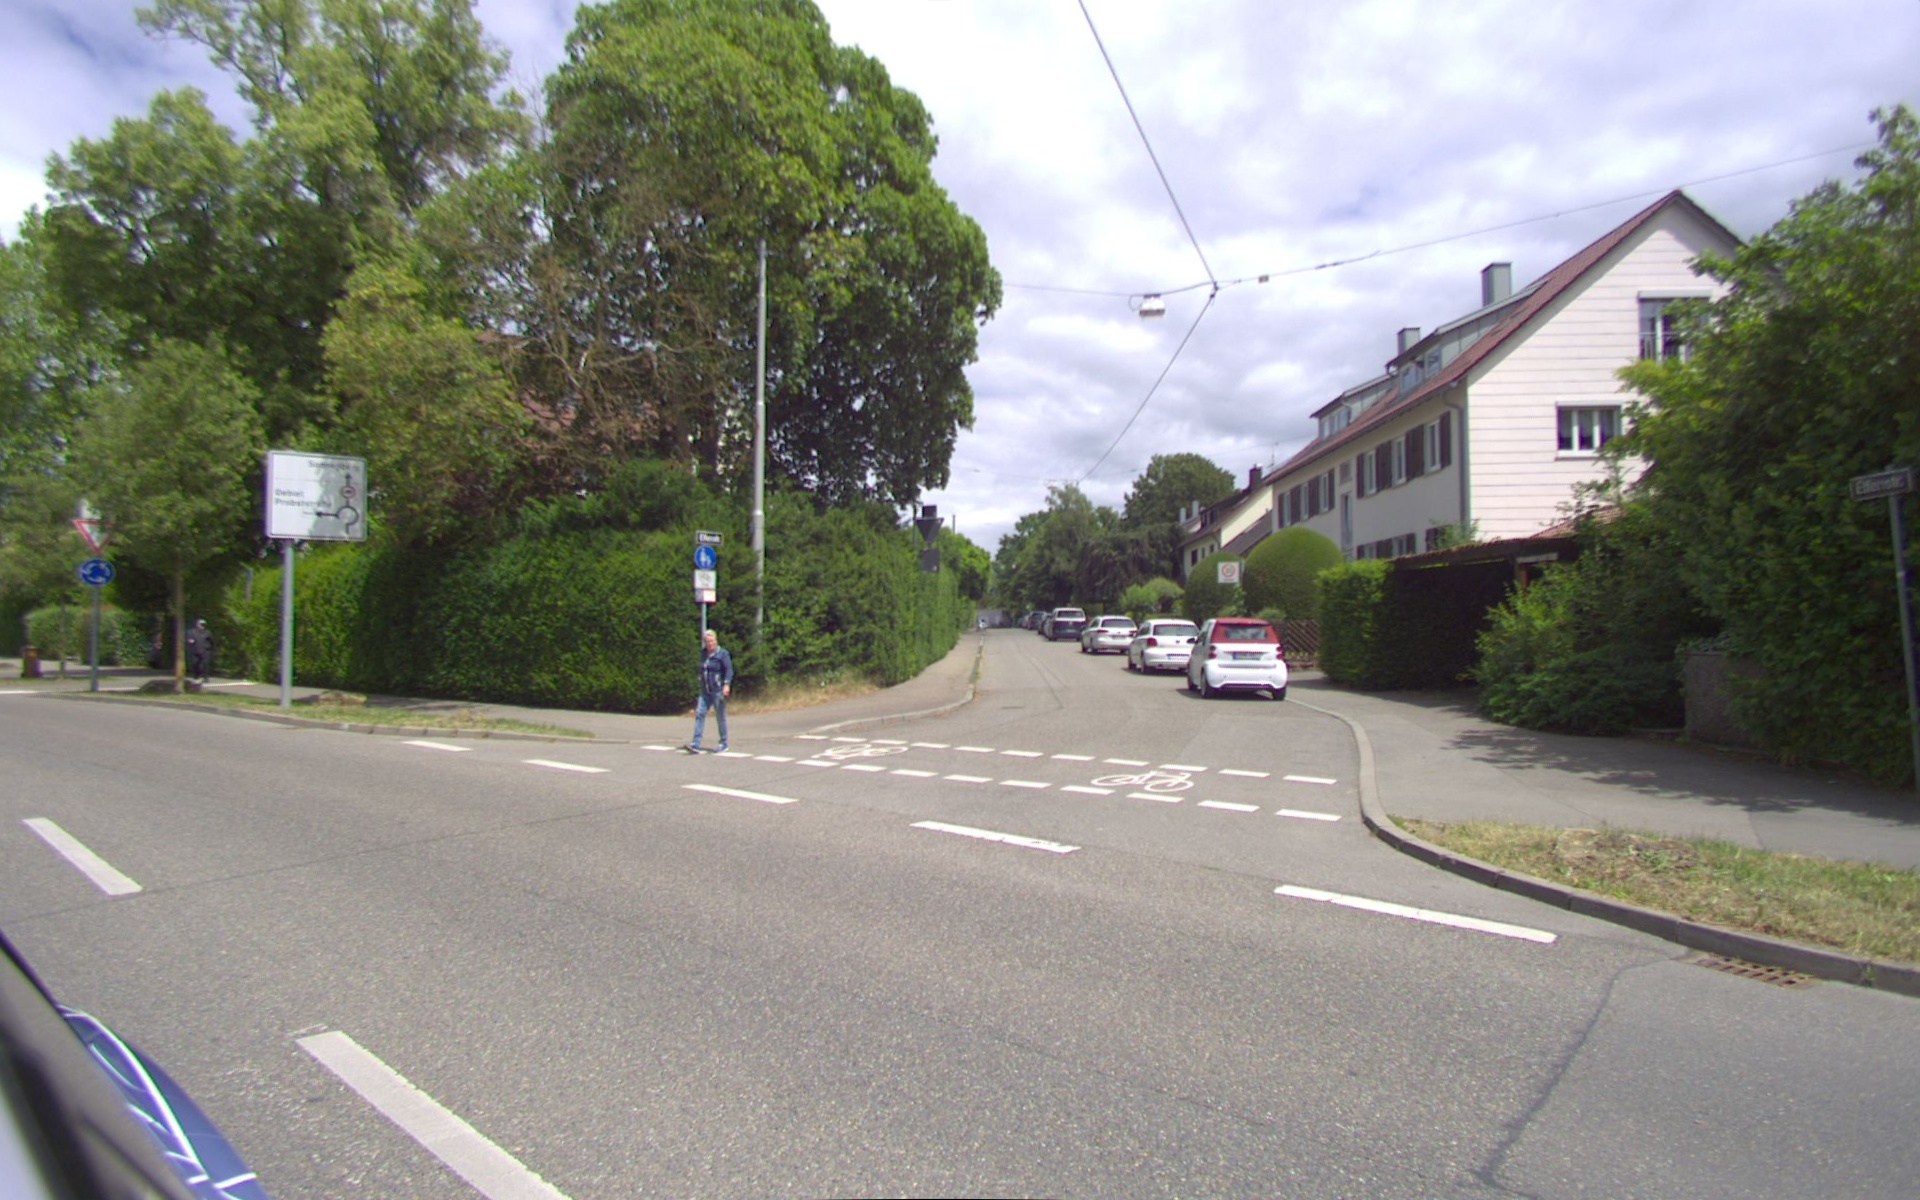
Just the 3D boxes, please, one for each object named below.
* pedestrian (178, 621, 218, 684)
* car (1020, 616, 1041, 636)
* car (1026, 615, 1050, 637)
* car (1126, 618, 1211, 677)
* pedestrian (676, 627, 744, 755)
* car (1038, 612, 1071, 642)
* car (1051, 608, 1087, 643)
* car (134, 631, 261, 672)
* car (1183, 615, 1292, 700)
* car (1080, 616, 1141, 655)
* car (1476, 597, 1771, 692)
[{"bbox_3d":[-21.174,1.439,28.126,0.694,1.704,0.736,-1,-2,41],"label":"pedestrian"},{"bbox_3d":[7.254,2.644,104.587,1.973,2.029,3.998,0,-1,1],"label":"car"},{"bbox_3d":[7.277,2.419,94.660,1.973,2.029,3.998,0,-1,1],"label":"car"},{"bbox_3d":[5.569,1.226,27.404,1.692,1.466,3.532,0,-1,2],"label":"car"},{"bbox_3d":[-3.074,1.097,12.503,0.620,1.520,0.730,0,-1,4],"label":"pedestrian"},{"bbox_3d":[6.635,1.900,71.121,1.973,2.029,3.998,0,-1,1],"label":"car"},{"bbox_3d":[6.158,1.455,57.659,1.941,1.885,3.994,0,-1,5],"label":"car"},{"bbox_3d":[-29.234,1.997,38.873,1.664,1.408,3.531,-1,-5,40],"label":"car"},{"bbox_3d":[5.511,1.099,20.371,1.569,1.567,2.775,0,-1,3],"label":"car"},{"bbox_3d":[5.783,1.348,39.376,1.682,1.416,4.280,0,-1,-1],"label":"car"},{"bbox_3d":[11.391,0.745,17.557,3.942,1.521,1.729,-1,-1,-1],"label":"car"}]
